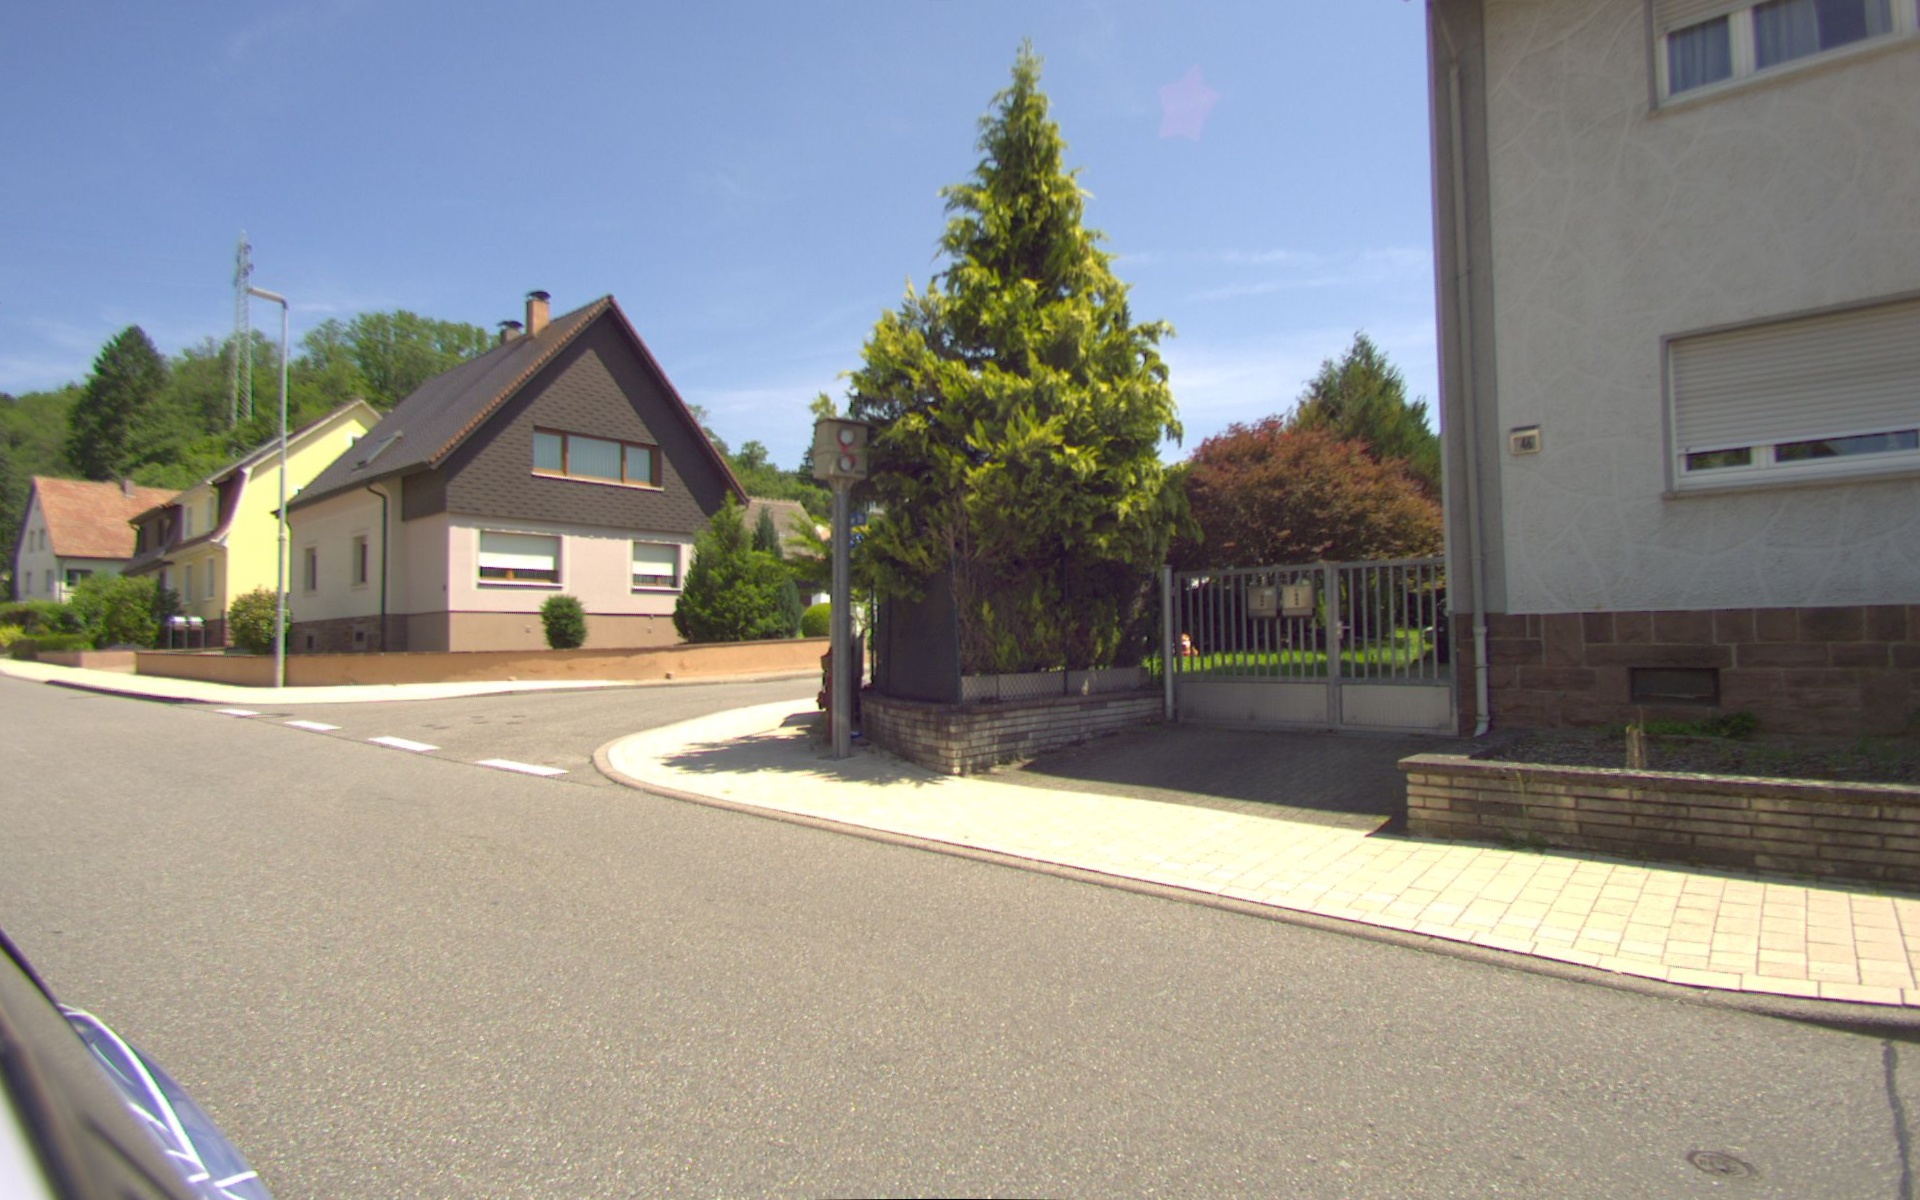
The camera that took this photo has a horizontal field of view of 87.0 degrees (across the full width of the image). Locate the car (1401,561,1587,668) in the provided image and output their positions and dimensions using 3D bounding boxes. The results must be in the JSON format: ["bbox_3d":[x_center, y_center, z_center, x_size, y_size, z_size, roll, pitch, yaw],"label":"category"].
[{"bbox_3d":[9.740,0.268,18.293,1.999,1.682,4.297,-2,-2,41],"label":"car"}]

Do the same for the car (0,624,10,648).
[{"bbox_3d":[-73.806,2.742,75.492,1.796,1.803,3.977,-1,-1,17],"label":"car"}]
